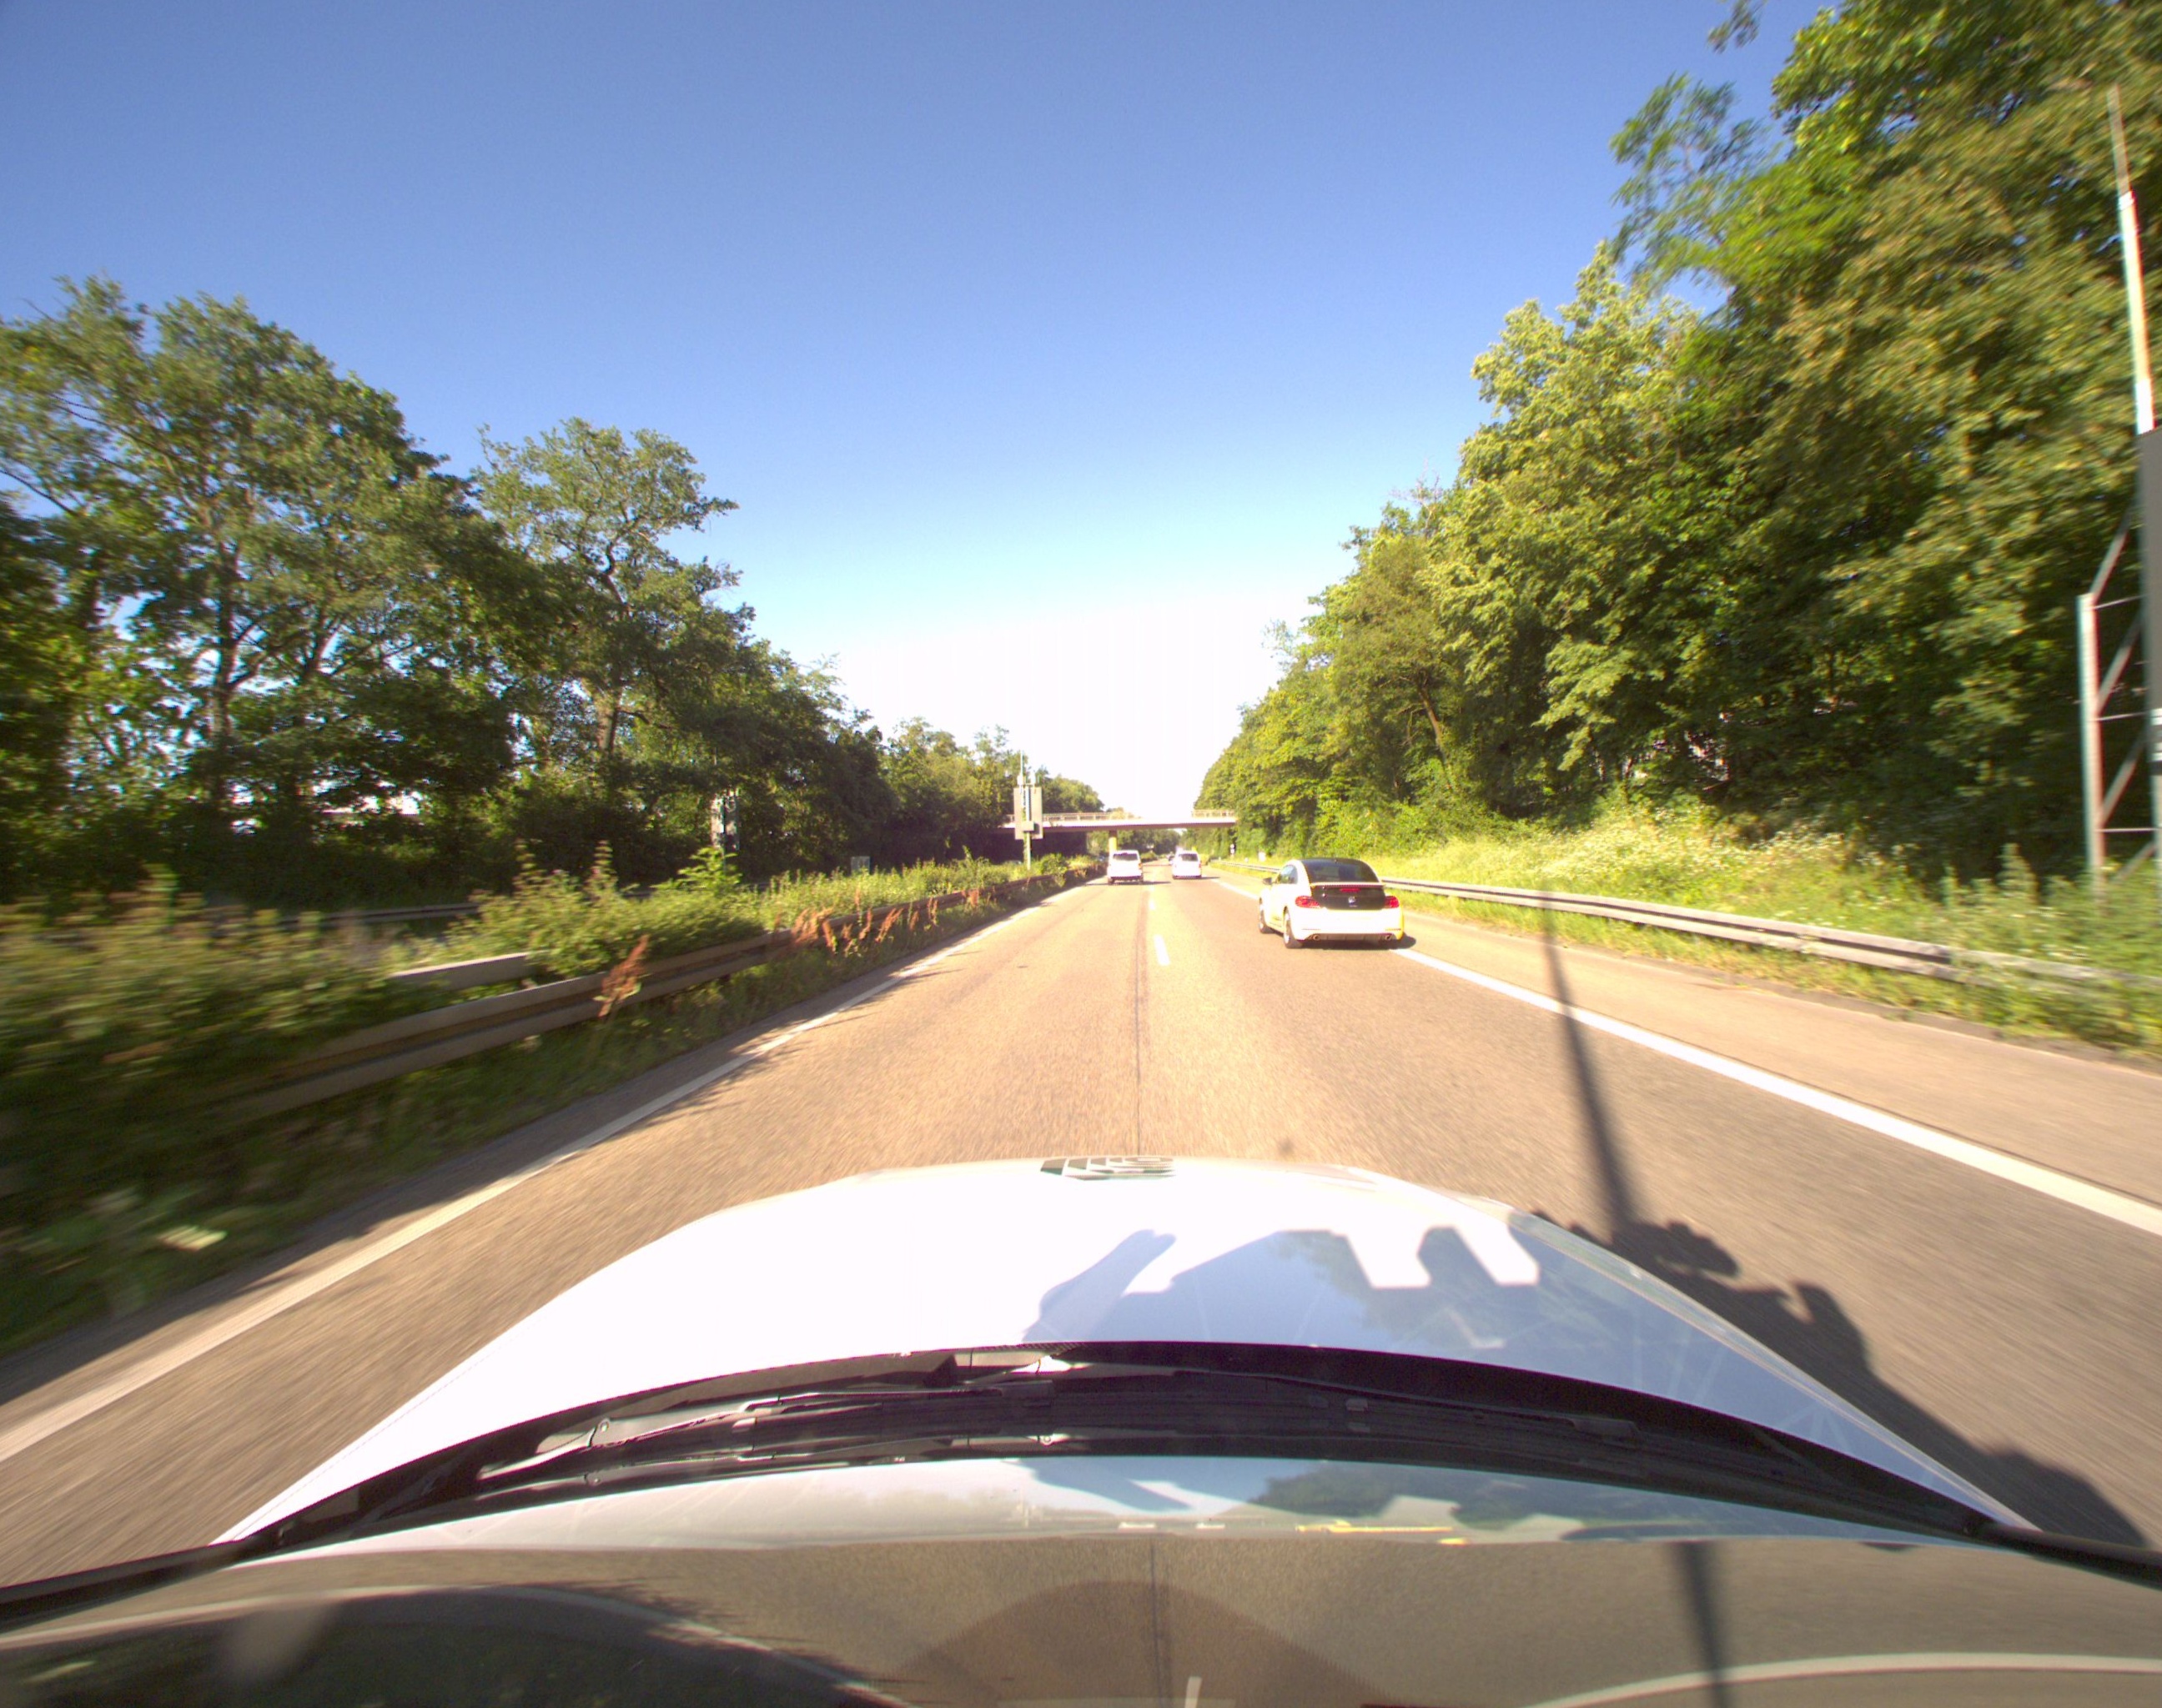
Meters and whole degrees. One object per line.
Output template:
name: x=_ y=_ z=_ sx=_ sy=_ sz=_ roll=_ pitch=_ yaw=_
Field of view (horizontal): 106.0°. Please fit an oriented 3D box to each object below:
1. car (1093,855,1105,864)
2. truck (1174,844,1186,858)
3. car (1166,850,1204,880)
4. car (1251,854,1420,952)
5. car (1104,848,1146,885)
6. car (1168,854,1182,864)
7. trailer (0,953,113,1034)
car: x=3.714 y=1.076 z=165.010 sx=1.950 sy=1.659 sz=5.050 roll=-2 pitch=0 yaw=7
truck: x=30.405 y=-0.872 z=249.018 sx=3.477 sy=4.173 sz=8.879 roll=-2 pitch=-1 yaw=7
car: x=6.617 y=0.708 z=52.250 sx=1.857 sy=1.770 sz=4.470 roll=-2 pitch=0 yaw=0
car: x=4.276 y=0.749 z=14.430 sx=1.871 sy=1.461 sz=4.360 roll=-1 pitch=0 yaw=4
car: x=2.338 y=0.620 z=42.858 sx=2.076 sy=1.828 sz=4.004 roll=0 pitch=0 yaw=3
car: x=14.375 y=0.786 z=124.053 sx=1.983 sy=1.398 sz=4.008 roll=-2 pitch=0 yaw=7
trailer: x=-12.707 y=1.572 z=6.504 sx=2.250 sy=0.740 sz=6.334 roll=-2 pitch=0 yaw=2
